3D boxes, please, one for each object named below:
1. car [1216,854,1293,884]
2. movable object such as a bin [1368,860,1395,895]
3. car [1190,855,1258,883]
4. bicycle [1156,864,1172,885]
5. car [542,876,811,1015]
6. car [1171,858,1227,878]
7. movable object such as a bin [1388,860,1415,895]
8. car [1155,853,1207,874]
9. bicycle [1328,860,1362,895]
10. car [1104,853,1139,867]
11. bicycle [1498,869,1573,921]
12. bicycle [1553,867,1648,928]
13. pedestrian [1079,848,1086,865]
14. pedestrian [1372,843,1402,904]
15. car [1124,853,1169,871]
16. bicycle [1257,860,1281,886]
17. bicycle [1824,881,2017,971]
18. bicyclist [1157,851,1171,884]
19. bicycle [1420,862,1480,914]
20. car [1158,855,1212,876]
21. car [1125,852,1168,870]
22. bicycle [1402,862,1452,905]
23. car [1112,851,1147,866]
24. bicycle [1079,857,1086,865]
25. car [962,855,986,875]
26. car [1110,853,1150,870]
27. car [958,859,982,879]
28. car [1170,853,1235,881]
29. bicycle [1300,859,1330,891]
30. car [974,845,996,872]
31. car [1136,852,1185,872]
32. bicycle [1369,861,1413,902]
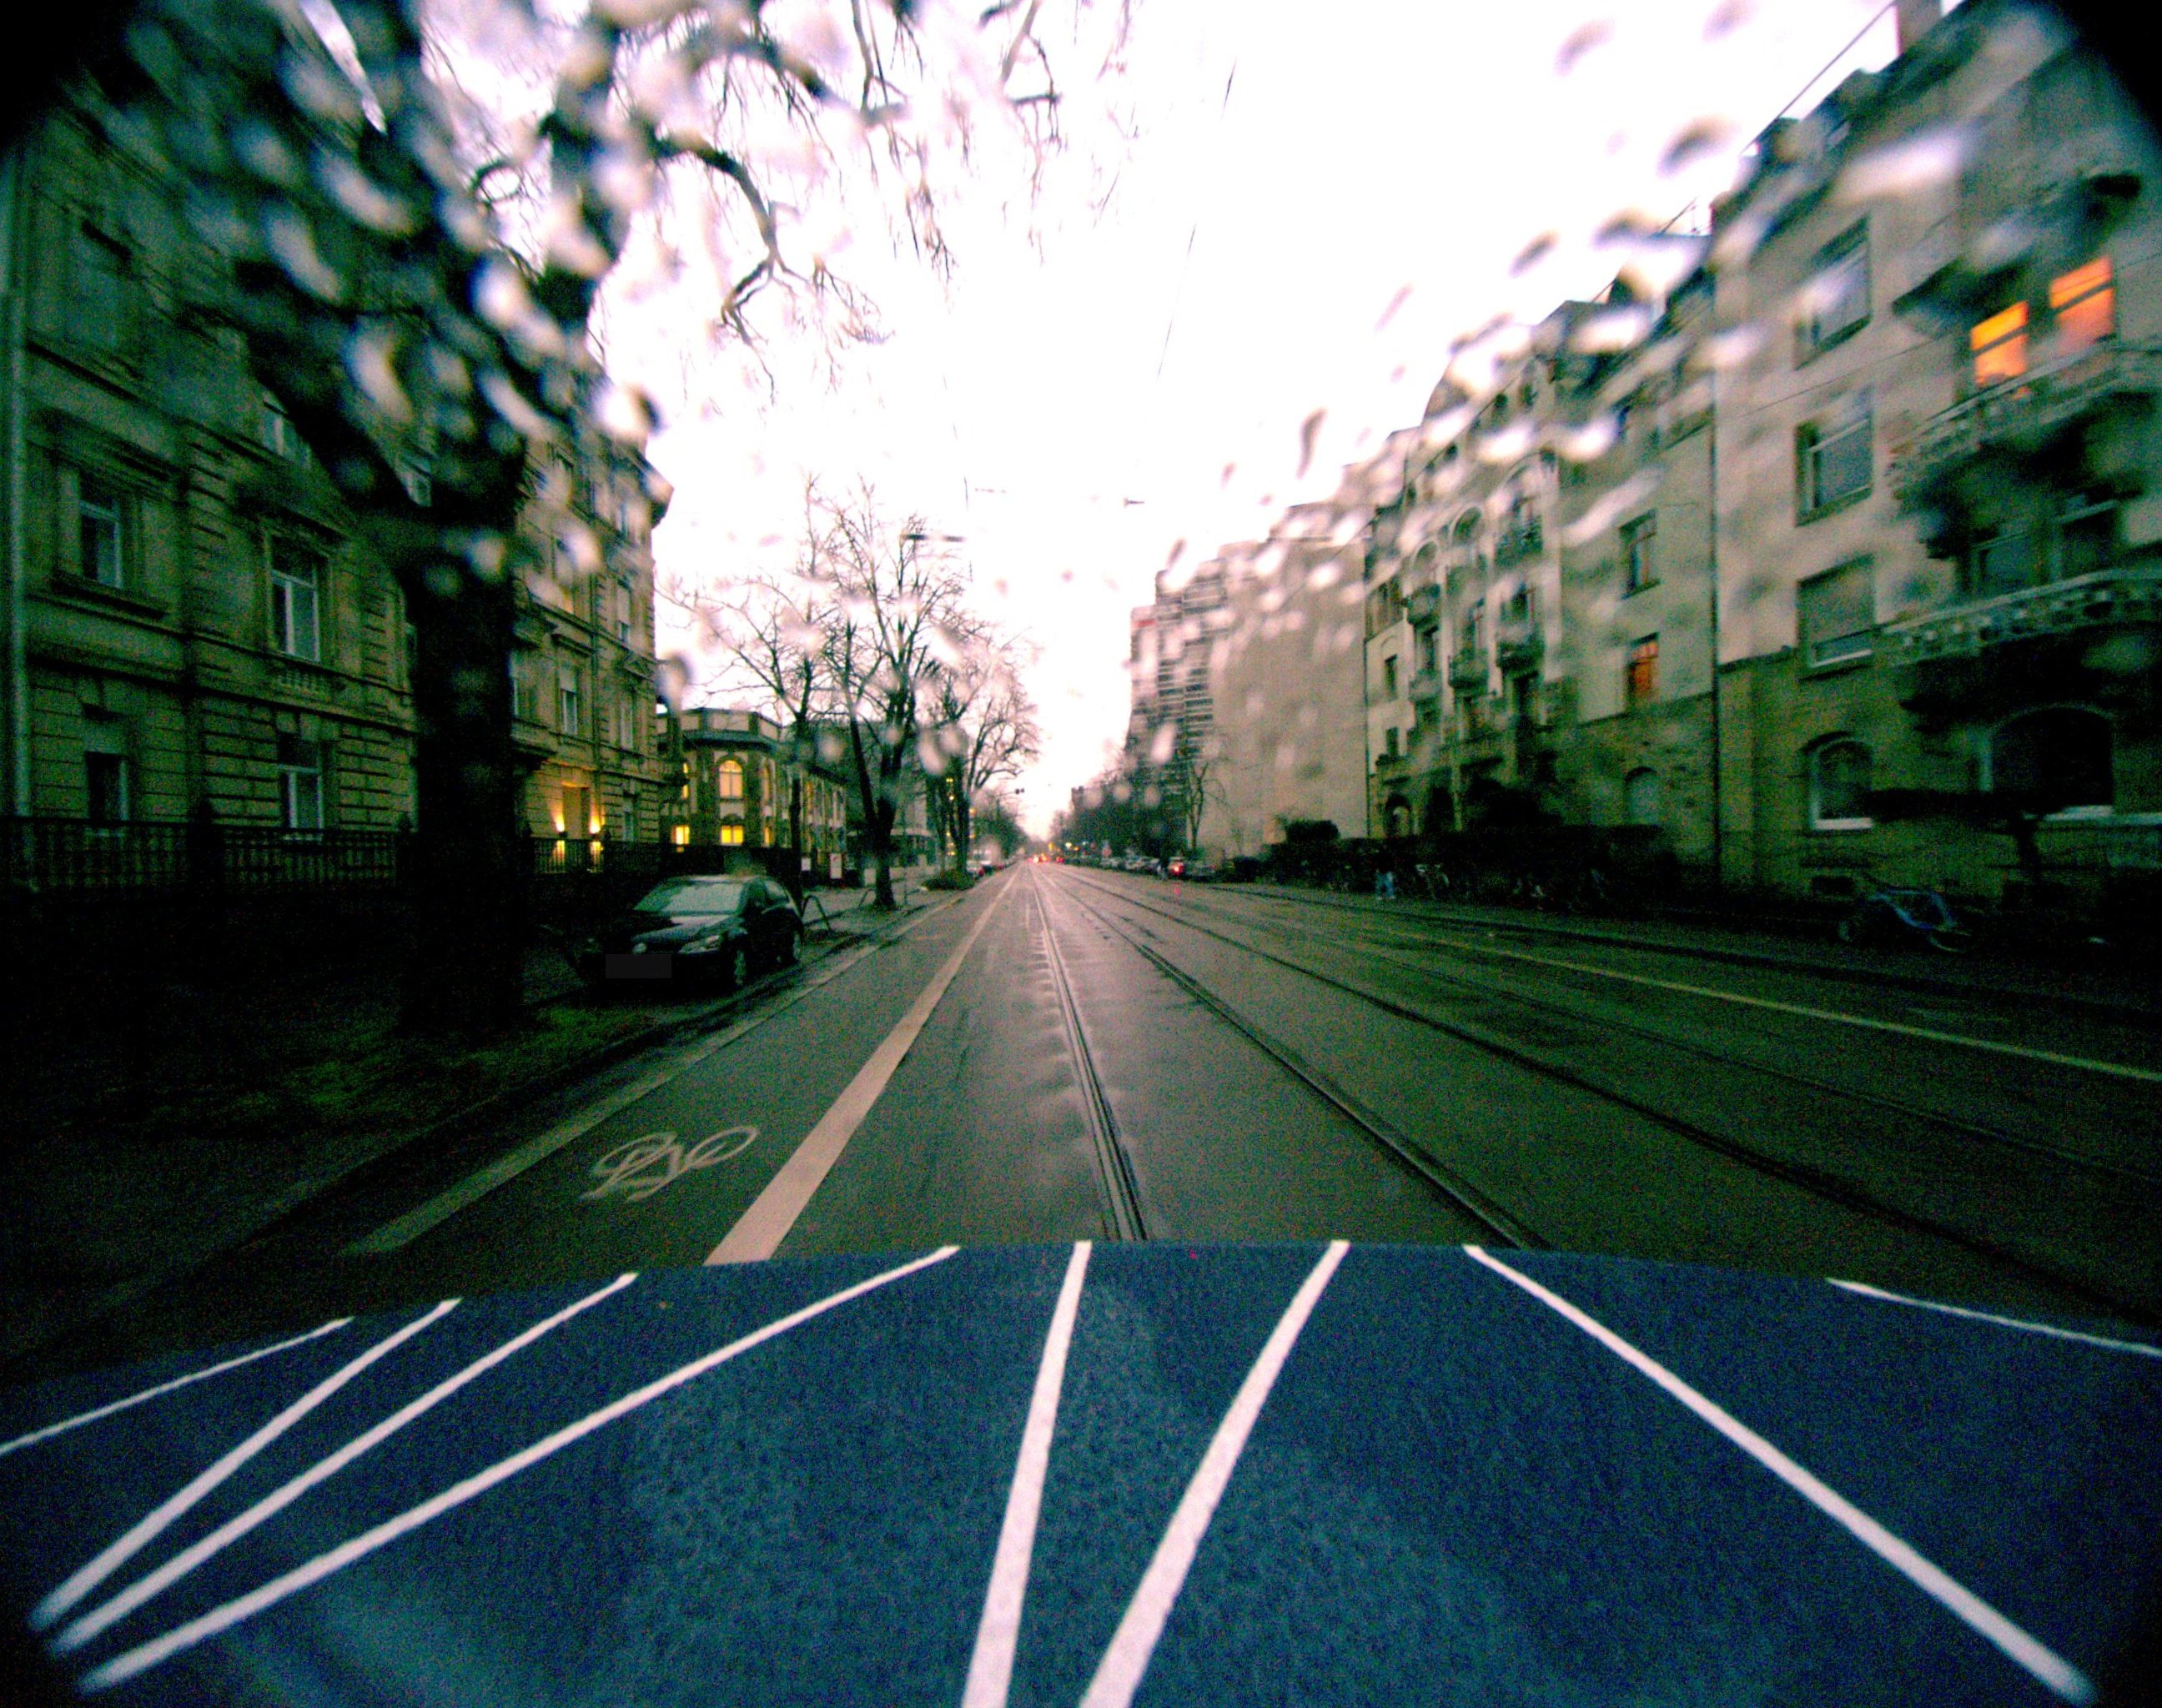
[{"bbox_3d":[9.638,0.818,42.140,4.006,1.485,1.864,-1,0,-32],"label":"car"},{"bbox_3d":[10.305,0.801,26.060,0.659,1.157,0.674,-1,0,-1],"label":"movable object such as a bin"},{"bbox_3d":[8.372,0.846,44.456,4.008,1.477,1.760,-1,0,-41],"label":"car"},{"bbox_3d":[4.725,1.158,43.337,0.625,1.086,1.947,-1,0,-1],"label":"bicycle"},{"bbox_3d":[-5.204,1.084,10.490,1.763,1.437,4.156,1,-1,-5],"label":"car"},{"bbox_3d":[7.917,0.902,50.889,3.674,1.245,1.707,0,0,-42],"label":"car"},{"bbox_3d":[10.983,0.801,26.075,0.625,1.157,0.674,-1,0,-1],"label":"movable object such as a bin"},{"bbox_3d":[8.094,0.723,61.306,4.008,1.586,1.864,-1,0,-41],"label":"car"},{"bbox_3d":[9.520,0.819,27.461,0.625,1.205,1.662,-1,0,-1],"label":"bicycle"},{"bbox_3d":[4.943,0.696,92.869,4.008,1.586,1.864,-1,0,-41],"label":"car"},{"bbox_3d":[10.177,0.890,17.077,0.625,1.059,1.726,-1,0,-1],"label":"bicycle"},{"bbox_3d":[10.274,0.828,15.101,0.625,1.119,1.783,-1,0,-1],"label":"bicycle"},{"bbox_3d":[0.228,0.385,103.944,0.952,2.246,1.119,-2,1,1],"label":"pedestrian"},{"bbox_3d":[8.872,0.566,22.063,0.574,1.715,0.644,-2,2,0],"label":"pedestrian"},{"bbox_3d":[6.168,0.711,70.940,4.008,1.586,1.864,-1,0,-41],"label":"car"},{"bbox_3d":[8.716,0.856,35.295,0.625,1.157,1.662,-2,0,-1],"label":"bicycle"},{"bbox_3d":[10.711,0.882,9.786,0.625,0.997,1.662,-1,0,-1],"label":"bicycle"},{"bbox_3d":[4.720,0.745,43.209,0.625,1.865,0.991,-1,0,-1],"label":"bicyclist"},{"bbox_3d":[9.120,0.822,18.848,0.625,1.205,1.662,-1,0,-1],"label":"bicycle"},{"bbox_3d":[7.959,0.850,57.791,4.008,1.440,1.864,-1,0,-41],"label":"car"},{"bbox_3d":[6.455,0.677,74.226,4.008,1.586,1.864,-1,0,-41],"label":"car"},{"bbox_3d":[9.765,0.808,21.523,0.625,1.157,1.662,-1,0,-1],"label":"bicycle"},{"bbox_3d":[5.783,0.531,90.872,4.008,1.586,1.864,-1,0,-41],"label":"car"},{"bbox_3d":[0.245,0.974,103.957,0.858,0.986,1.918,-2,1,0],"label":"bicycle"},{"bbox_3d":[-9.584,0.979,68.364,2.000,1.672,3.997,-2,1,-7],"label":"car"},{"bbox_3d":[5.136,0.764,79.440,4.008,1.586,1.864,-1,0,-41],"label":"car"},{"bbox_3d":[-8.493,1.101,58.311,1.629,1.399,3.997,-2,1,-7],"label":"car"},{"bbox_3d":[7.630,0.800,47.505,4.008,1.586,1.864,-1,0,-41],"label":"car"},{"bbox_3d":[9.199,0.826,29.943,0.625,1.205,1.662,-1,0,-1],"label":"bicycle"},{"bbox_3d":[-9.882,0.430,78.285,2.094,2.622,5.445,-2,1,-7],"label":"car"},{"bbox_3d":[6.783,0.671,64.448,4.008,1.586,1.864,-1,0,-41],"label":"car"},{"bbox_3d":[9.592,0.830,23.571,0.625,1.205,1.662,-1,0,-1],"label":"bicycle"}]
